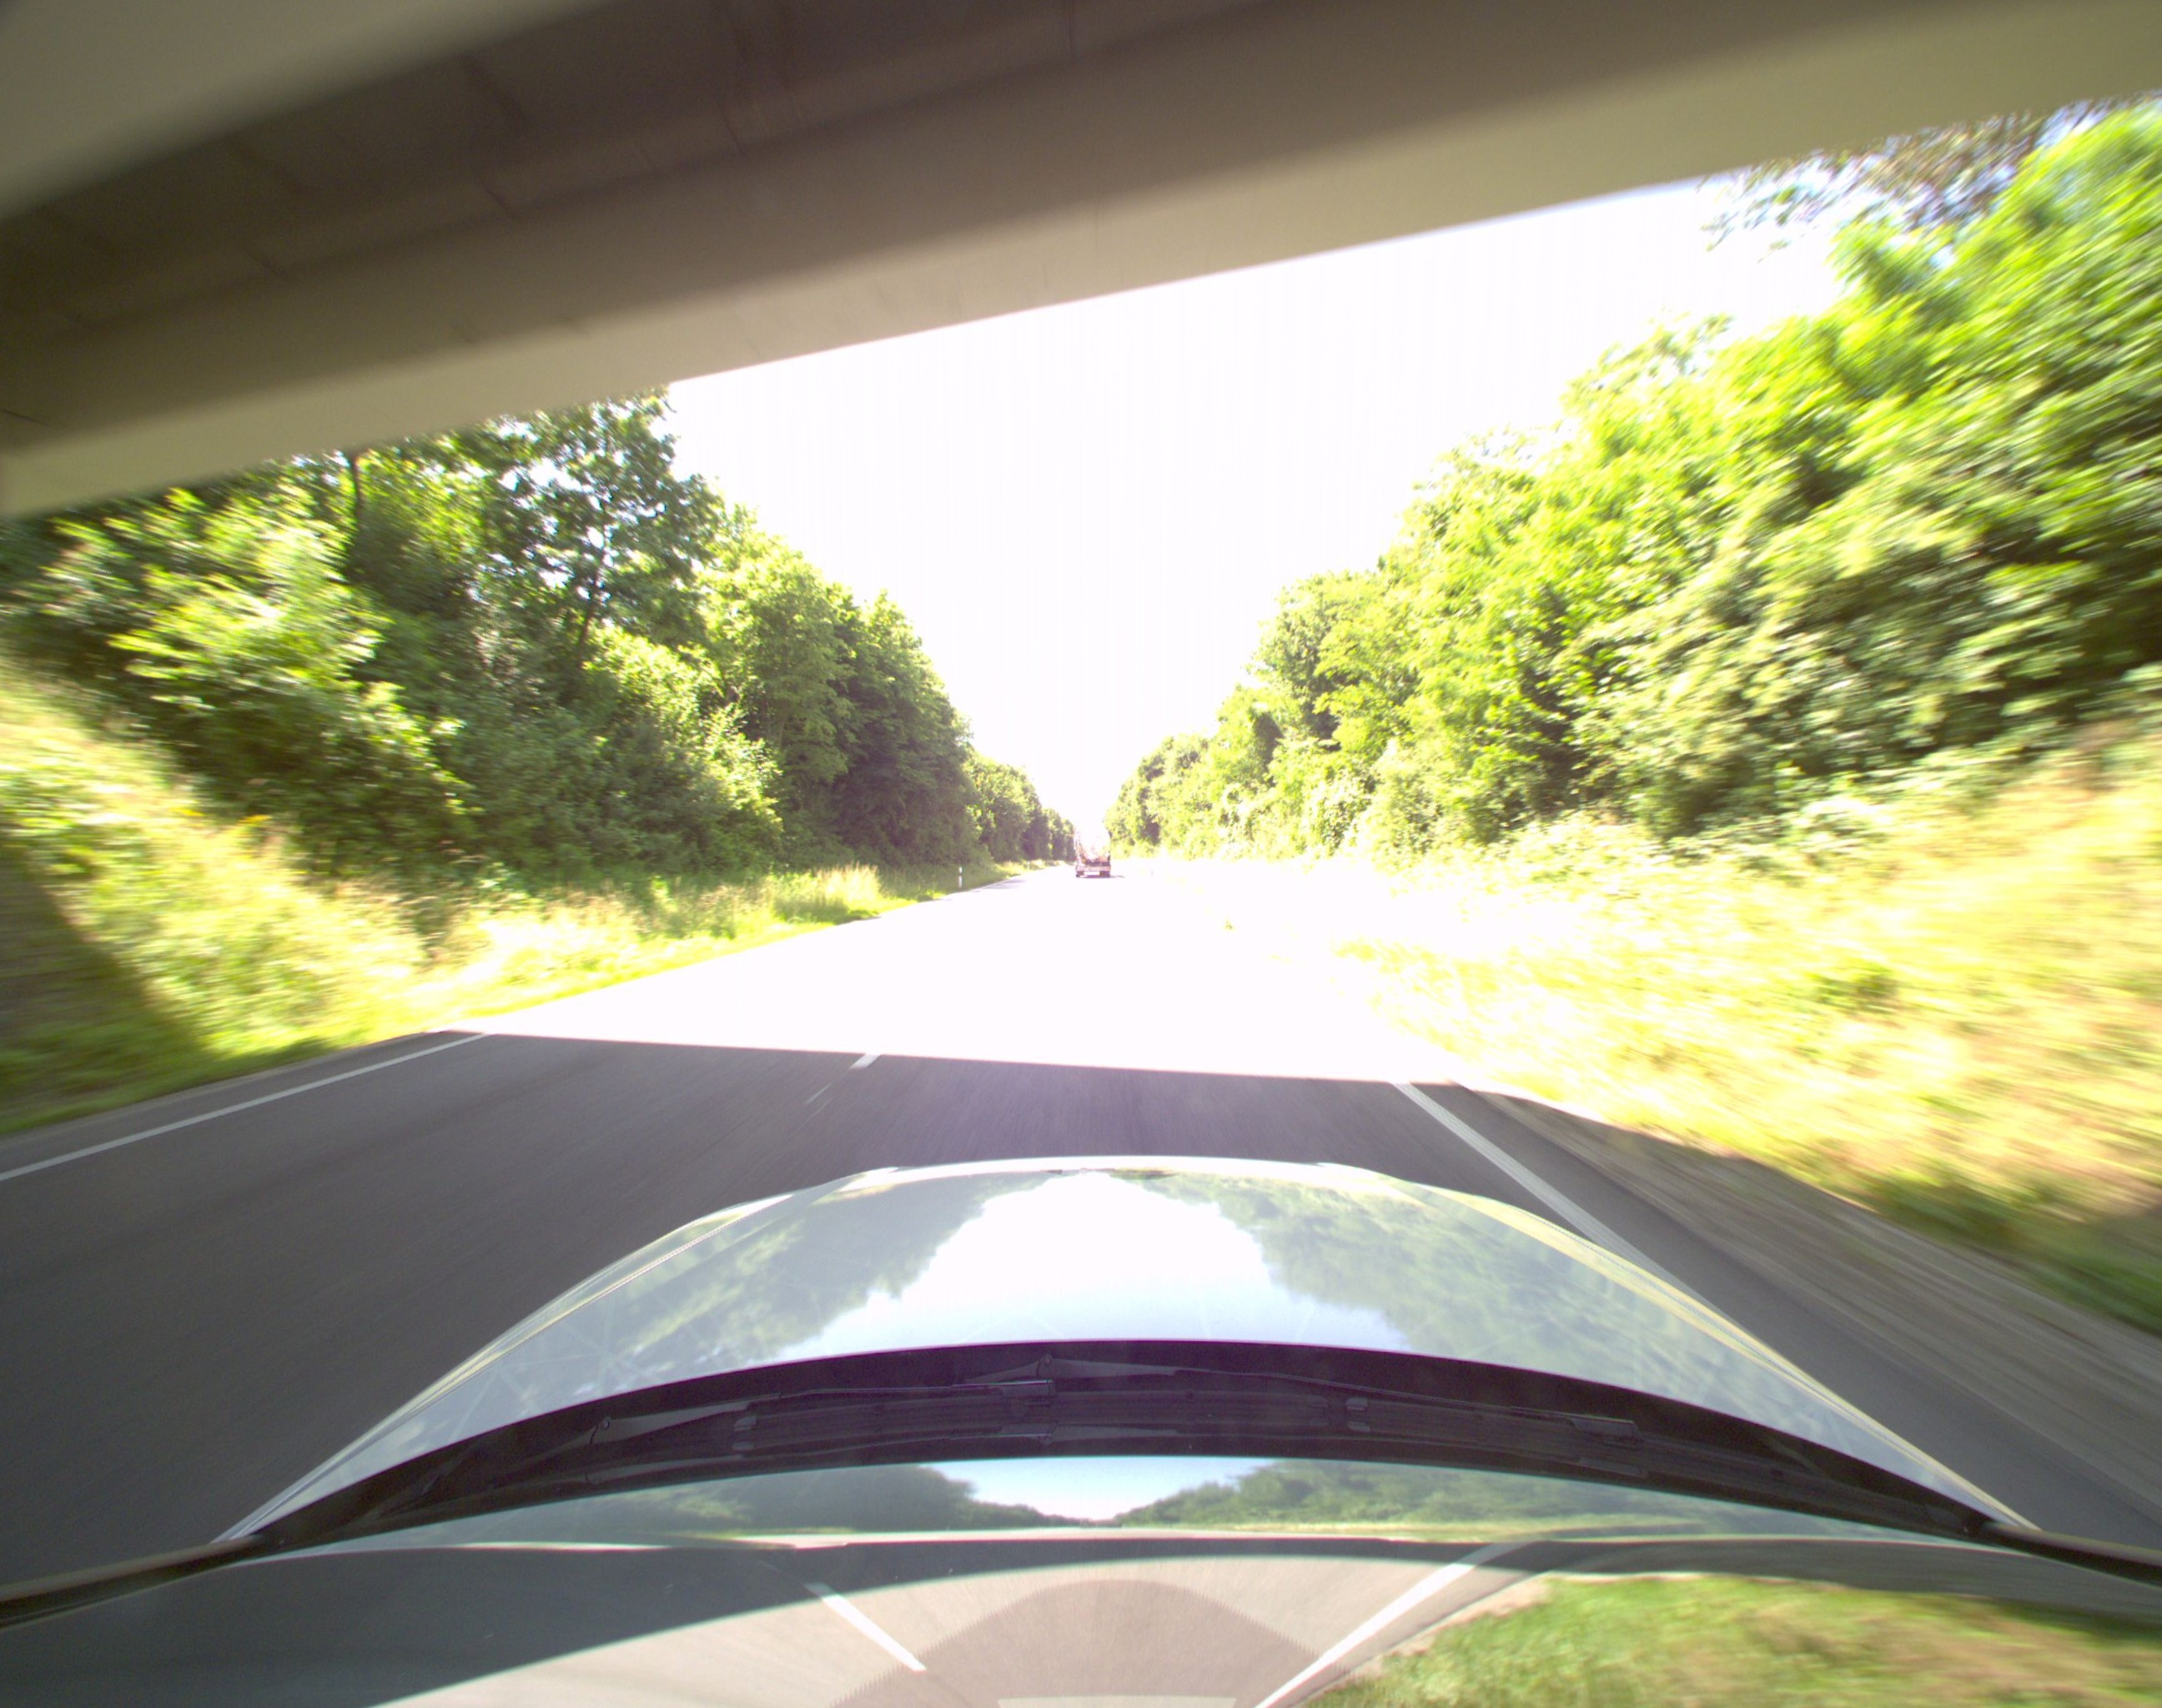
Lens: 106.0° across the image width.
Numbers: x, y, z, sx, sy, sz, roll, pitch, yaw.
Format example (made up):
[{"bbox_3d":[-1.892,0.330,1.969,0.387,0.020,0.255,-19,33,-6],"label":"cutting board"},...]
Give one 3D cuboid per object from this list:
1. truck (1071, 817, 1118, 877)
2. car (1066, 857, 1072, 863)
[{"bbox_3d":[0.832,-0.348,63.087,3.040,3.998,15.628,2,-1,-1],"label":"truck"},{"bbox_3d":[-3.493,1.706,240.312,1.507,1.592,3.793,0,0,1],"label":"car"}]
